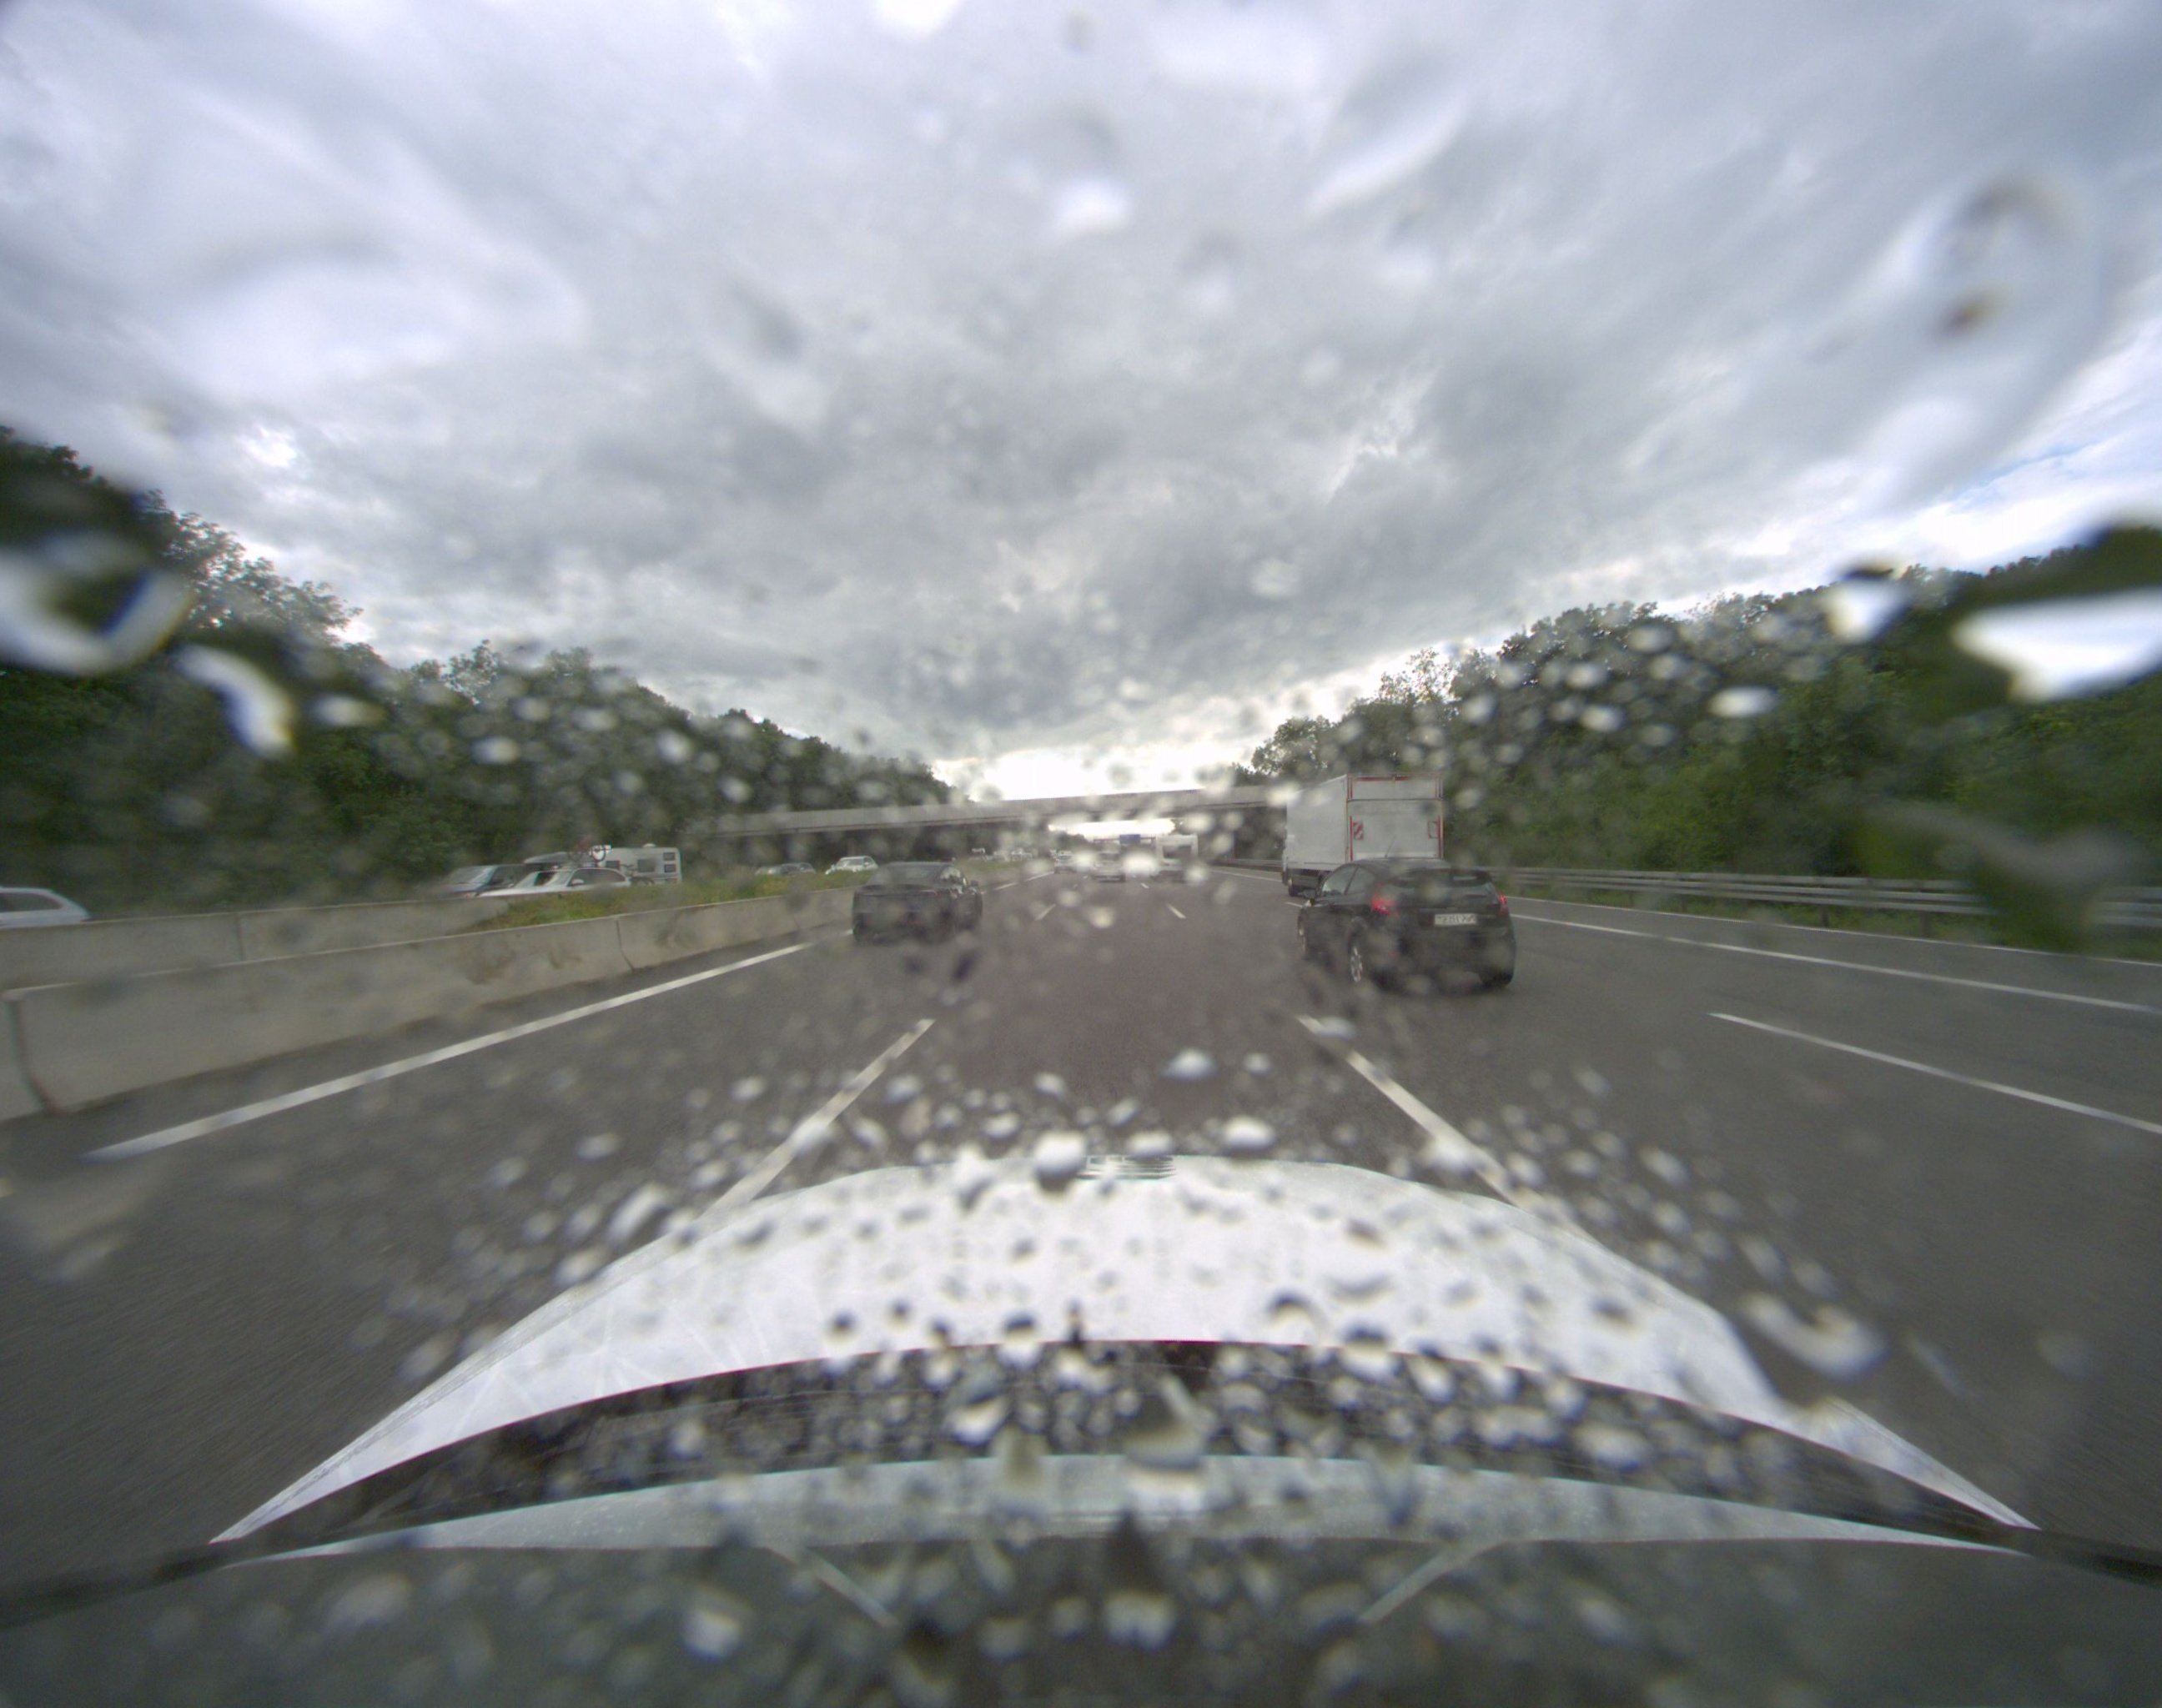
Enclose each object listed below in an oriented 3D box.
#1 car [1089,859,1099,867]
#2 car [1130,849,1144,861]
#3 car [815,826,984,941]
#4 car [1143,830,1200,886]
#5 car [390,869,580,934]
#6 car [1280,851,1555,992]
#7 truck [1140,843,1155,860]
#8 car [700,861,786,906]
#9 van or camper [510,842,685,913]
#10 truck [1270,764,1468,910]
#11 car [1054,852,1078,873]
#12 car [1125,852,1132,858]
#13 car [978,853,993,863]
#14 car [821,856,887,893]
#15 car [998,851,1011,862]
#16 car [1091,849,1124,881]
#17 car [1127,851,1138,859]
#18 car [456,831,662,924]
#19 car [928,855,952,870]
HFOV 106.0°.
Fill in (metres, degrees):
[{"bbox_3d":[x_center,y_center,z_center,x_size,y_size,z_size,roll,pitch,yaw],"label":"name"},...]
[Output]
[{"bbox_3d":[2.398,1.595,147.226,1.774,1.481,4.354,-1,0,1],"label":"car"},{"bbox_3d":[9.273,0.134,134.572,2.036,1.823,4.906,-1,0,2],"label":"car"},{"bbox_3d":[-3.240,0.468,15.743,1.986,1.821,5.164,-1,0,1],"label":"car"},{"bbox_3d":[5.060,0.221,46.669,2.558,2.895,7.535,-1,0,1],"label":"car"},{"bbox_3d":[-21.054,1.603,29.188,2.596,1.952,5.509,-1,0,2],"label":"car"},{"bbox_3d":[3.959,0.687,10.461,1.878,1.407,4.284,-1,0,2],"label":"car"},{"bbox_3d":[15.076,-0.561,184.257,2.895,3.810,7.277,-1,0,2],"label":"truck"},{"bbox_3d":[-16.414,1.372,39.855,2.036,2.013,4.790,-1,0,2],"label":"car"},{"bbox_3d":[-20.783,0.913,35.766,2.595,2.707,8.128,-1,0,2],"label":"van or camper"},{"bbox_3d":[8.537,-0.450,25.865,3.121,3.709,9.853,-1,0,2],"label":"truck"},{"bbox_3d":[-1.301,0.710,72.394,1.808,1.689,4.854,-1,0,2],"label":"car"},{"bbox_3d":[13.992,0.377,242.450,2.035,1.823,4.907,-1,0,3],"label":"car"},{"bbox_3d":[-18.333,0.746,156.814,2.212,1.952,4.830,-1,0,2],"label":"car"},{"bbox_3d":[-12.460,1.075,45.039,1.986,1.850,5.227,-1,0,2],"label":"car"},{"bbox_3d":[-14.542,0.486,154.950,1.987,2.013,4.000,-1,0,0],"label":"car"},{"bbox_3d":[1.531,0.594,47.146,1.774,1.716,4.355,-1,0,2],"label":"car"},{"bbox_3d":[11.218,0.172,177.619,2.036,1.823,4.906,-1,0,2],"label":"car"},{"bbox_3d":[-13.699,0.552,21.893,1.986,2.181,5.291,-1,0,2],"label":"car"},{"bbox_3d":[-18.866,1.150,109.118,2.212,1.952,4.830,-1,0,2],"label":"car"}]
